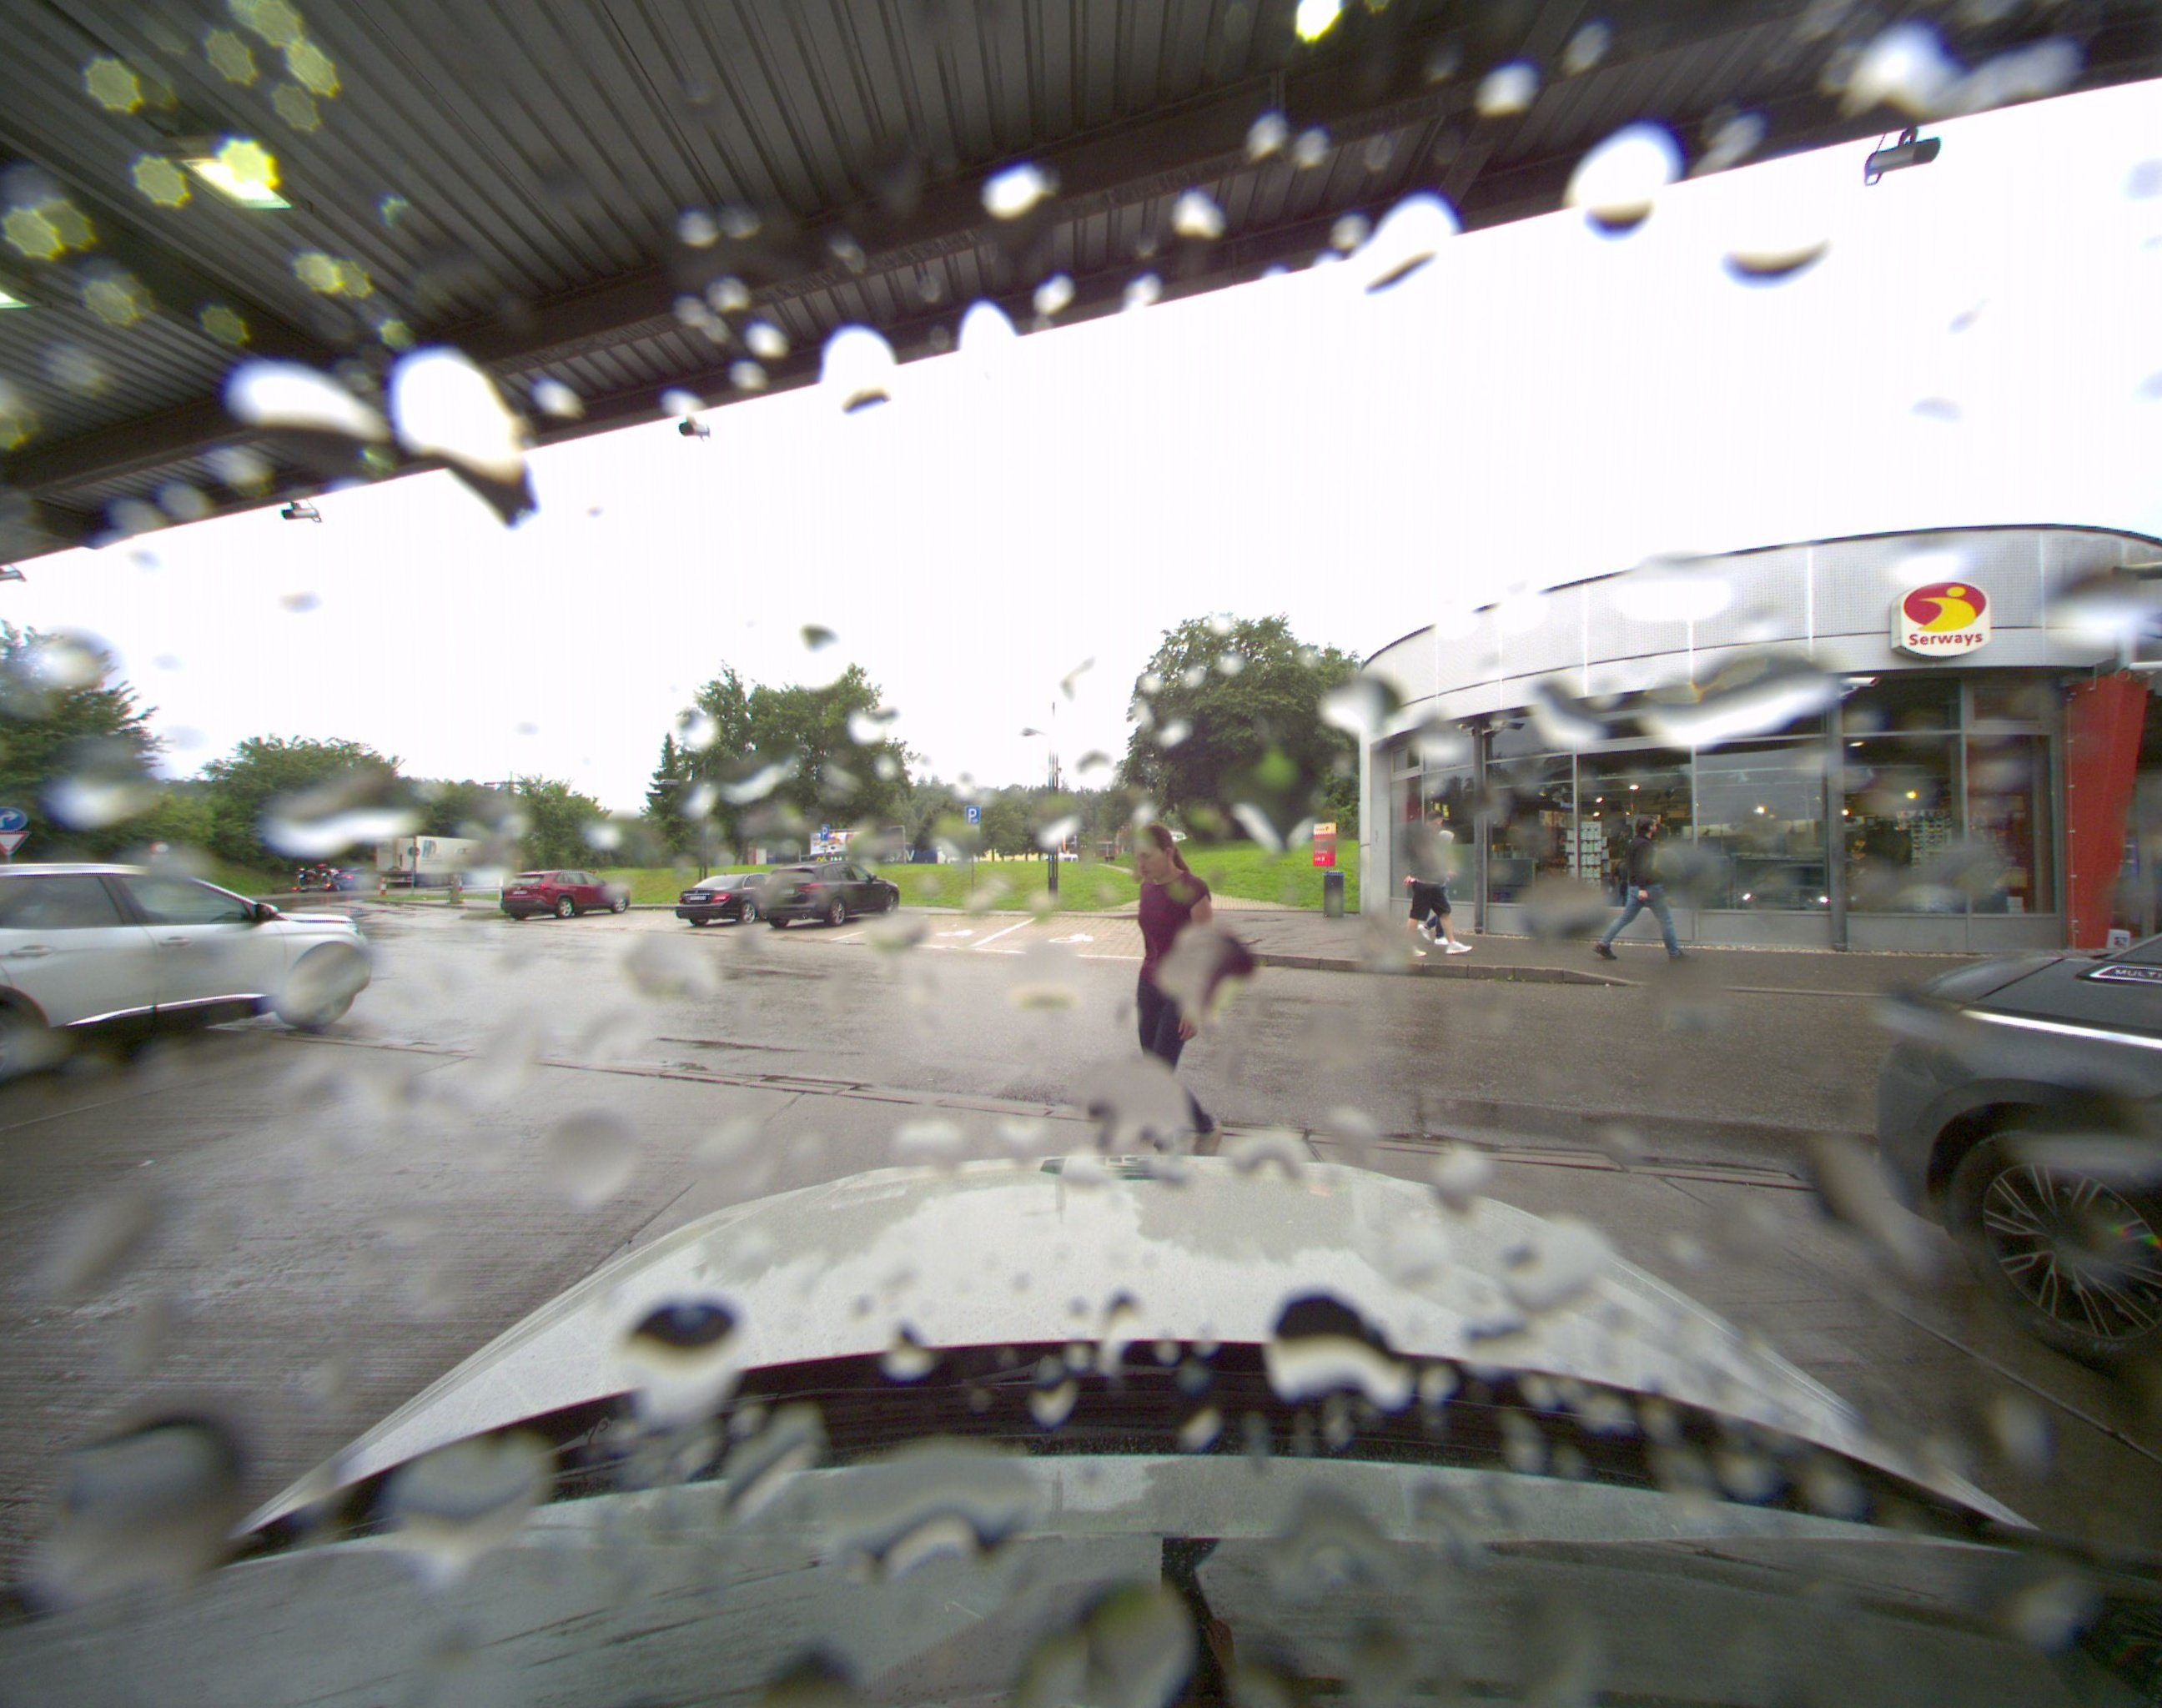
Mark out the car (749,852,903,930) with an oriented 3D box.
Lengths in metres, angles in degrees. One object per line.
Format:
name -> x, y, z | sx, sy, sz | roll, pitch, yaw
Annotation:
car -> -6.621, 0.891, 21.719 | 1.871, 1.828, 4.429 | -2, 0, 13

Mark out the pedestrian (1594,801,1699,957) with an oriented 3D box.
pedestrian -> 7.104, 0.303, 10.285 | 0.989, 1.864, 0.804 | -2, 0, 30

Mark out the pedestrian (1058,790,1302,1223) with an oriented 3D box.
pedestrian -> 0.481, 0.616, 3.844 | 0.786, 1.734, 0.845 | -2, -1, 37

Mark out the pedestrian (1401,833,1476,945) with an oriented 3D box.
pedestrian -> 5.206, 0.493, 11.860 | 0.880, 1.550, 0.665 | -2, 0, 31

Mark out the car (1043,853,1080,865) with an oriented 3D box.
car -> -3.195, 0.817, 134.056 | 5.376, 2.013, 2.468 | -1, 0, 21

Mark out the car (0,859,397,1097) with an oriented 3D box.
car -> -8.110, 0.841, 6.146 | 1.810, 1.565, 4.999 | 0, 0, -2

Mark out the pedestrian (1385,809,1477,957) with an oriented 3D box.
pedestrian -> 4.625, 0.362, 10.747 | 0.963, 1.848, 0.778 | -2, 0, 30

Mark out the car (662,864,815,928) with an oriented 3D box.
car -> -9.623, 1.141, 23.276 | 1.871, 1.565, 4.200 | -2, 0, 13

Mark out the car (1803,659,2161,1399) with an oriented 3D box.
car -> 3.712, 0.453, 1.209 | 1.809, 1.948, 4.002 | -1, 0, 2

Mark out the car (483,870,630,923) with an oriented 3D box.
car -> -18.164, 1.420, 28.499 | 1.873, 1.596, 4.364 | -2, 0, 8

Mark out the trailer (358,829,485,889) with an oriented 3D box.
trailer -> -54.895, 0.434, 68.454 | 3.466, 4.557, 13.827 | 0, -1, -18

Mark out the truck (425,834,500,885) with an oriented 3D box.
truck -> -57.118, 0.508, 75.394 | 3.467, 4.557, 6.694 | 0, -1, -18

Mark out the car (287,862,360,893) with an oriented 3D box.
car -> -49.226, 1.488, 53.048 | 1.934, 1.838, 4.360 | -1, 0, -20
